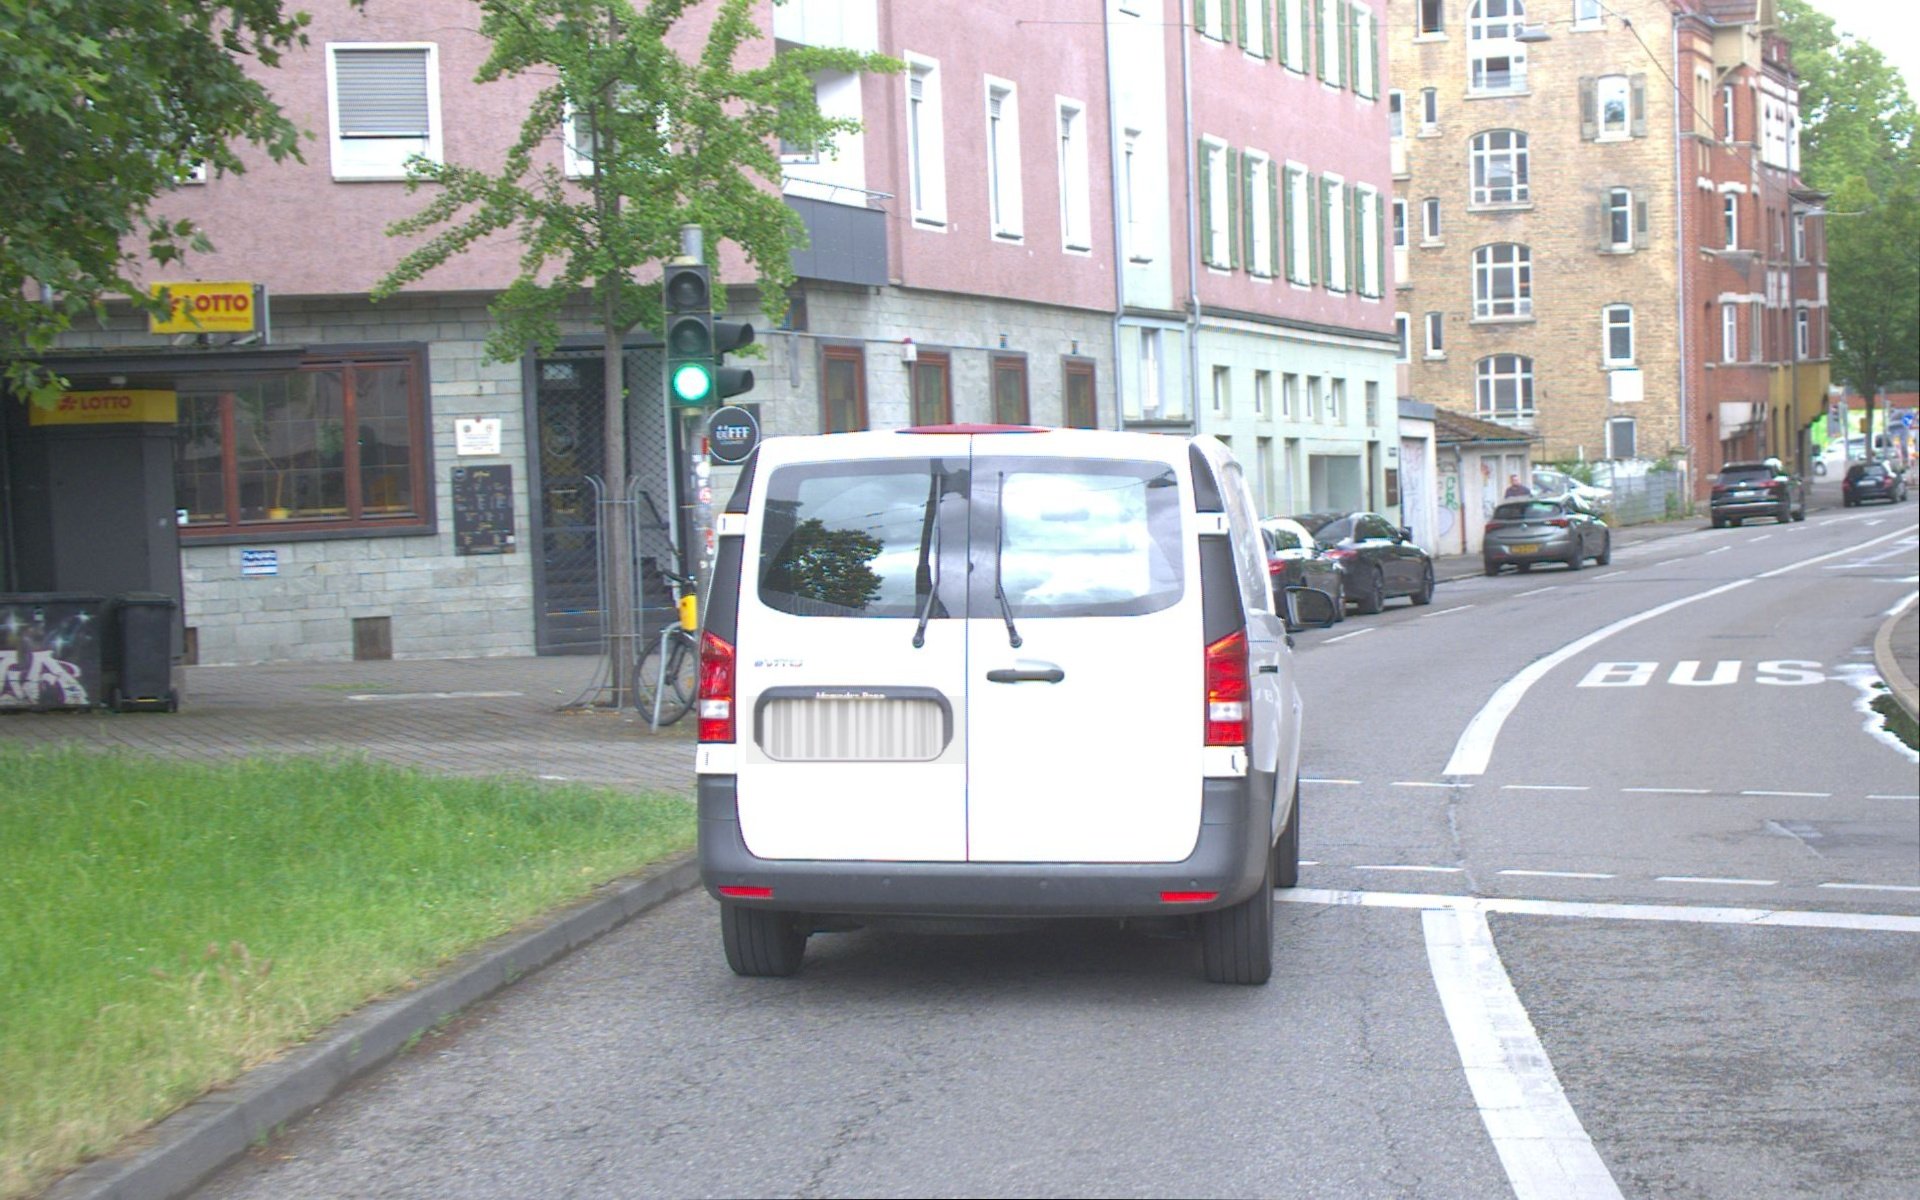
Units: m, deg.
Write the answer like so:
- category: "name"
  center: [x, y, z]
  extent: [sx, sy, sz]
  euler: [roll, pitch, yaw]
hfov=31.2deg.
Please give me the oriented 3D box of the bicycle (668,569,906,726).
- category: "bicycle"
  center: [-1.328, 0.356, 26.411]
  extent: [1.801, 1.172, 0.725]
  euler: [0, 1, -3]

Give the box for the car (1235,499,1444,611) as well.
- category: "car"
  center: [5.549, -0.681, 49.730]
  extent: [1.831, 1.450, 4.917]
  euler: [-2, 1, 20]

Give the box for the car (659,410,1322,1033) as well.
- category: "car"
  center: [0.325, 0.319, 12.955]
  extent: [1.918, 1.895, 4.700]
  euler: [1, 1, 8]

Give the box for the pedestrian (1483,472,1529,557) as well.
- category: "pedestrian"
  center: [11.357, -1.784, 71.493]
  extent: [0.762, 1.738, 0.984]
  euler: [0, 2, 19]

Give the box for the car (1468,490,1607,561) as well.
- category: "car"
  center: [10.907, -1.406, 64.697]
  extent: [1.995, 1.285, 3.997]
  euler: [1, 1, 18]

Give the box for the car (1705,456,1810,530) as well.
- category: "car"
  center: [20.911, -2.829, 90.022]
  extent: [1.956, 1.727, 4.769]
  euler: [-1, 3, 22]

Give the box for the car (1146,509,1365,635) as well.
- category: "car"
  center: [3.869, -0.401, 44.298]
  extent: [1.830, 1.450, 4.581]
  euler: [-2, 1, 17]

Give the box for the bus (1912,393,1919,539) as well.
- category: "bus"
  center: [23.444, -3.099, 77.569]
  extent: [2.665, 3.125, 10.030]
  euler: [1, 3, 22]

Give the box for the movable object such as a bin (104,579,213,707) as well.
- category: "movable object such as a bin"
  center: [-6.439, 0.337, 27.605]
  extent: [0.671, 0.961, 1.079]
  euler: [1, 2, -22]

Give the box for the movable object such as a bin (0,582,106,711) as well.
- category: "movable object such as a bin"
  center: [-7.344, 0.361, 27.229]
  extent: [0.964, 0.961, 1.113]
  euler: [1, 2, -22]

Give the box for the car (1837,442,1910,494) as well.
- category: "car"
  center: [30.530, -4.433, 114.842]
  extent: [1.727, 1.480, 4.386]
  euler: [-1, 4, 23]

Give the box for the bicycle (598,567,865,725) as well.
- category: "bicycle"
  center: [-1.673, 0.326, 25.155]
  extent: [1.871, 1.110, 0.577]
  euler: [1, 2, 18]
